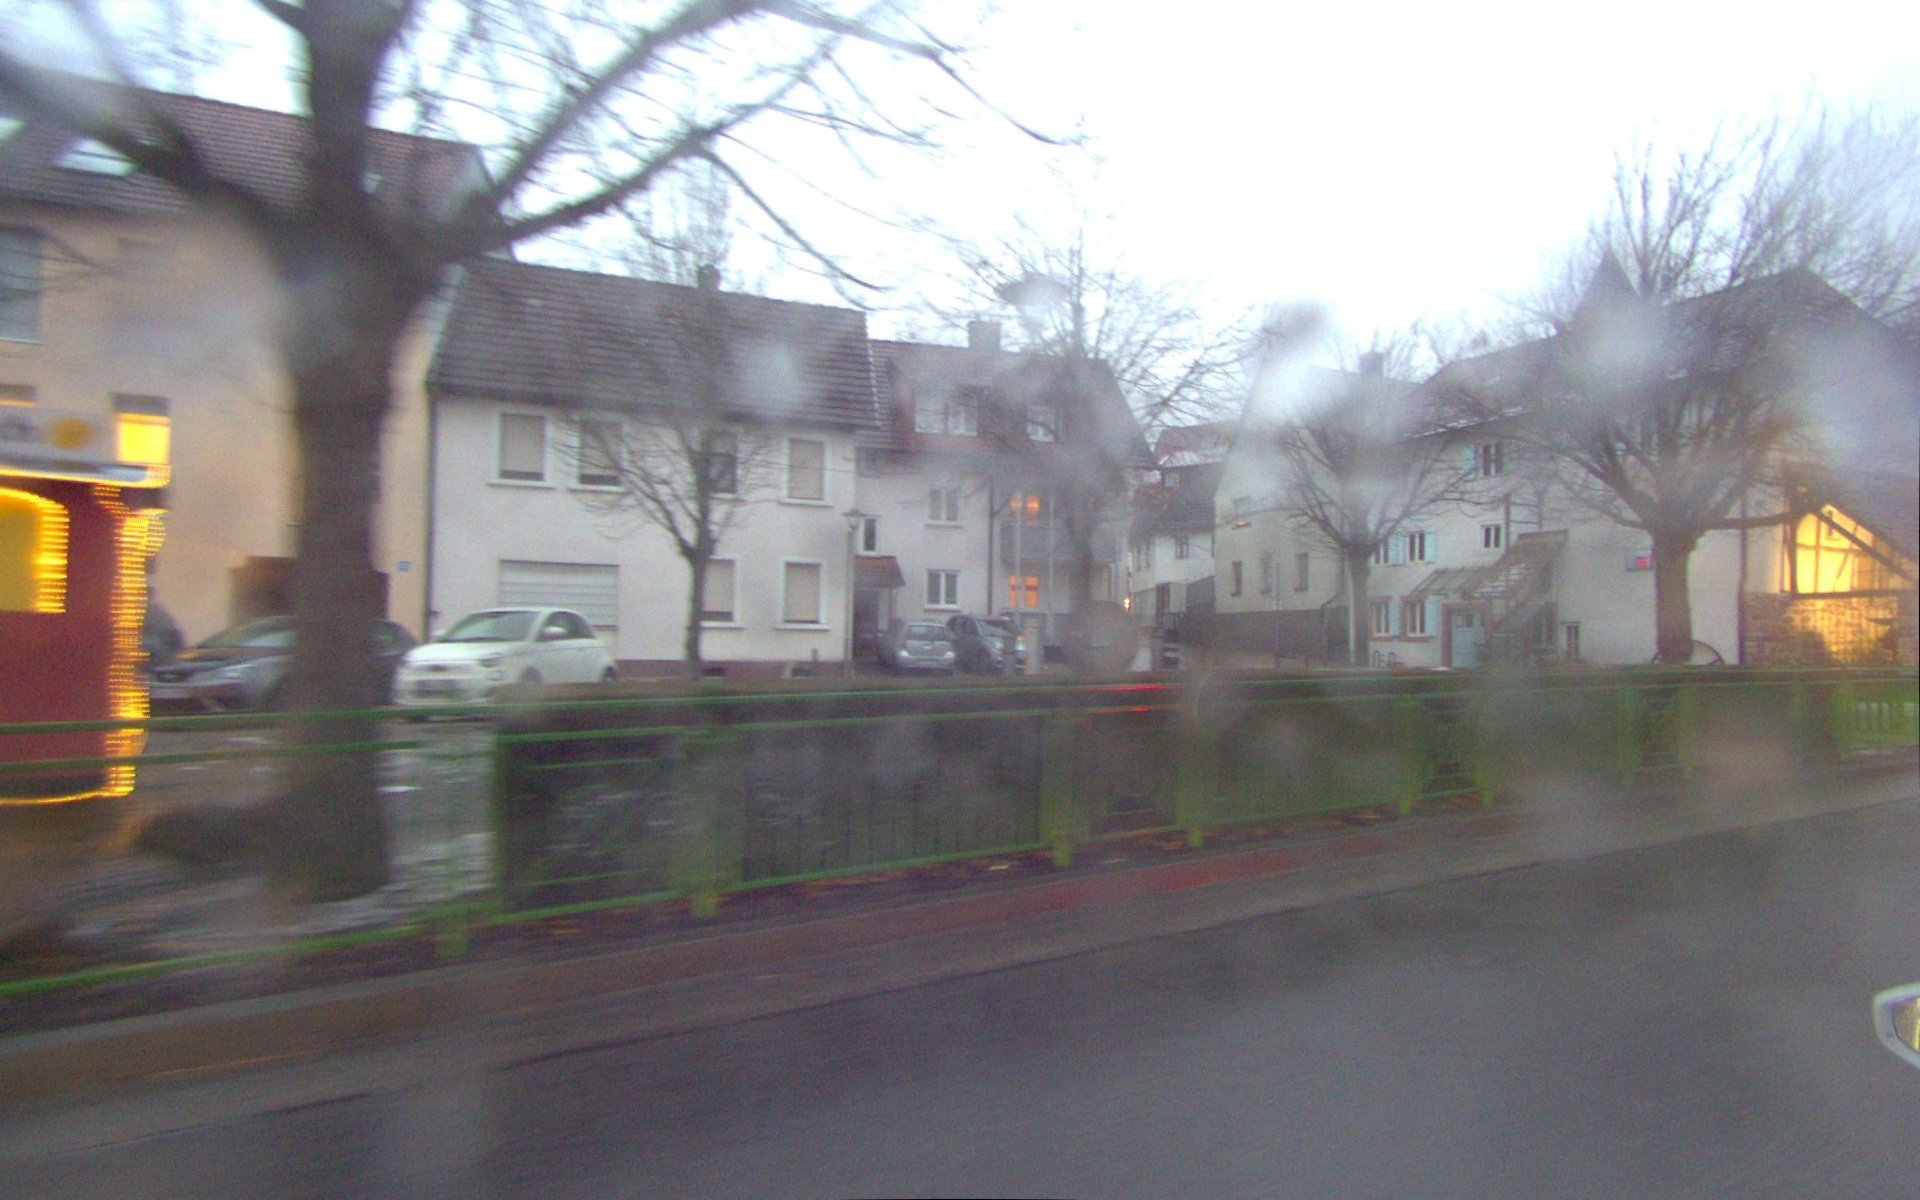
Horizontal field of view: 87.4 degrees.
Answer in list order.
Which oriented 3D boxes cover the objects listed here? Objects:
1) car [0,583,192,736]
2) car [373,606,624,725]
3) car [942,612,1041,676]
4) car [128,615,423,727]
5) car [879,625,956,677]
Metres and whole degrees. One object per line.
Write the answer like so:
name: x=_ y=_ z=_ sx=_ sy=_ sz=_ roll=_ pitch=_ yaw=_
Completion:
car: x=-10.968 y=0.630 z=11.367 sx=1.578 sy=1.633 sz=3.636 roll=1 pitch=0 yaw=4
car: x=-6.216 y=0.812 z=13.973 sx=1.578 sy=1.428 sz=3.487 roll=1 pitch=0 yaw=6
car: x=0.848 y=1.240 z=29.369 sx=1.687 sy=1.633 sz=3.594 roll=1 pitch=1 yaw=-19
car: x=-8.642 y=0.832 z=13.001 sx=1.578 sy=1.236 sz=3.057 roll=1 pitch=0 yaw=4
car: x=-1.249 y=1.416 z=28.574 sx=1.504 sy=1.142 sz=3.044 roll=1 pitch=3 yaw=-16
